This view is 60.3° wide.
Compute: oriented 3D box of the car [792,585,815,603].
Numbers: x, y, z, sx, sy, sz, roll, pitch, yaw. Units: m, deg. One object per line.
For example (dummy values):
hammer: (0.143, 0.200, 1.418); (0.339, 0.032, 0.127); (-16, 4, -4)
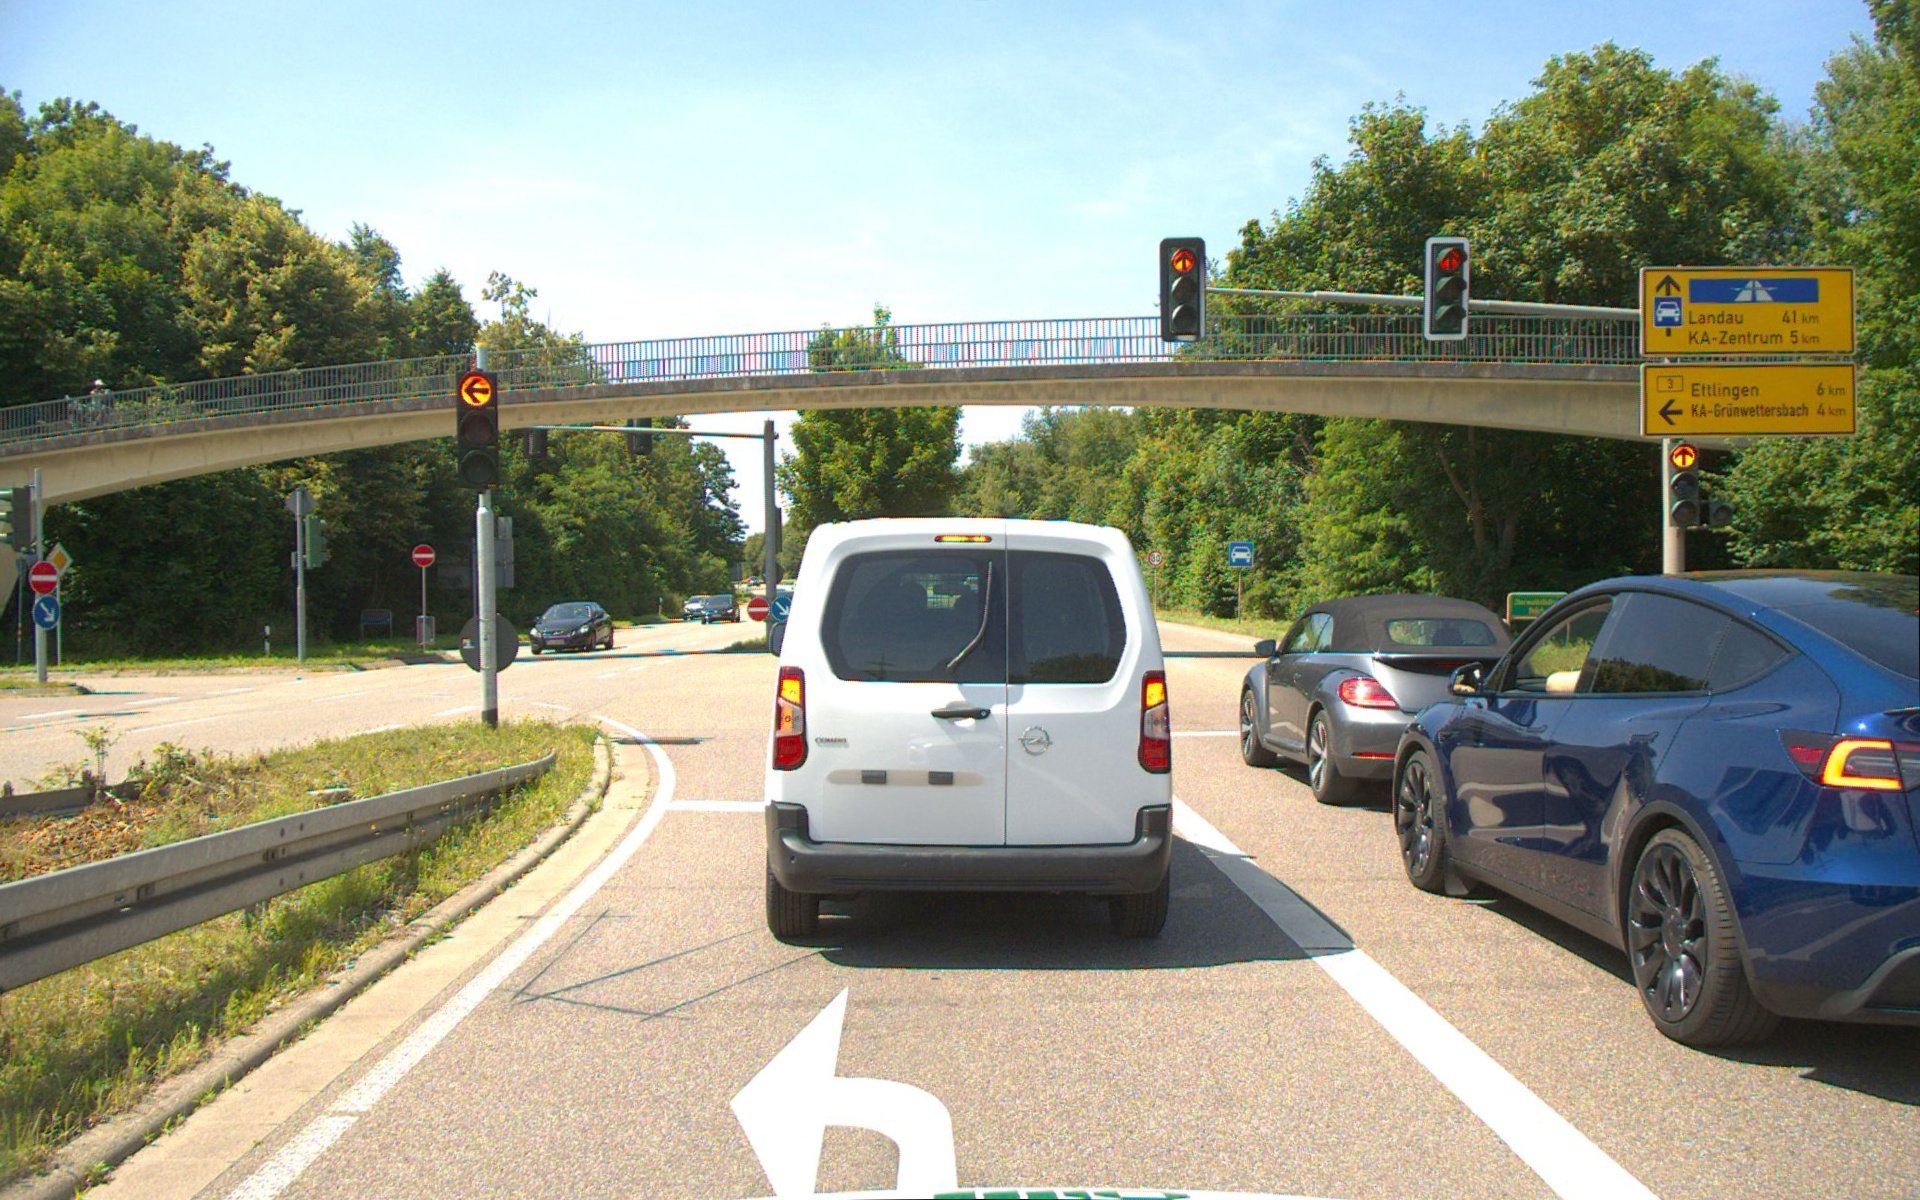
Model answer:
car: (-15.125, -0.623, 160.002); (1.953, 1.694, 3.999); (-1, 0, -1)

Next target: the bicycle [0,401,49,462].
bicycle: (-25.354, -4.540, 44.545); (1.494, 1.500, 0.470); (-3, -2, 15)

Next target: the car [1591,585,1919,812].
car: (6.839, 0.651, 13.201); (1.862, 1.503, 4.380); (1, 0, -1)

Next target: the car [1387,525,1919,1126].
car: (3.330, 0.624, 6.891); (1.862, 1.673, 4.519); (1, 0, -1)

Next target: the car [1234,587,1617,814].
car: (3.460, 0.664, 13.096); (1.862, 1.503, 3.938); (1, 0, -1)

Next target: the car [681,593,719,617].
car: (-16.051, 0.284, 102.318); (1.717, 1.431, 3.999); (-1, 0, -1)

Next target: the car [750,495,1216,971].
car: (0.037, 0.495, 8.507); (1.812, 1.857, 3.980); (1, 1, -2)

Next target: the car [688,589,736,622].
car: (-13.095, 0.268, 87.591); (1.953, 1.694, 3.999); (-1, 0, -1)

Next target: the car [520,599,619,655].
car: (-11.528, 0.770, 49.068); (1.967, 1.486, 4.054); (-2, 0, -1)
